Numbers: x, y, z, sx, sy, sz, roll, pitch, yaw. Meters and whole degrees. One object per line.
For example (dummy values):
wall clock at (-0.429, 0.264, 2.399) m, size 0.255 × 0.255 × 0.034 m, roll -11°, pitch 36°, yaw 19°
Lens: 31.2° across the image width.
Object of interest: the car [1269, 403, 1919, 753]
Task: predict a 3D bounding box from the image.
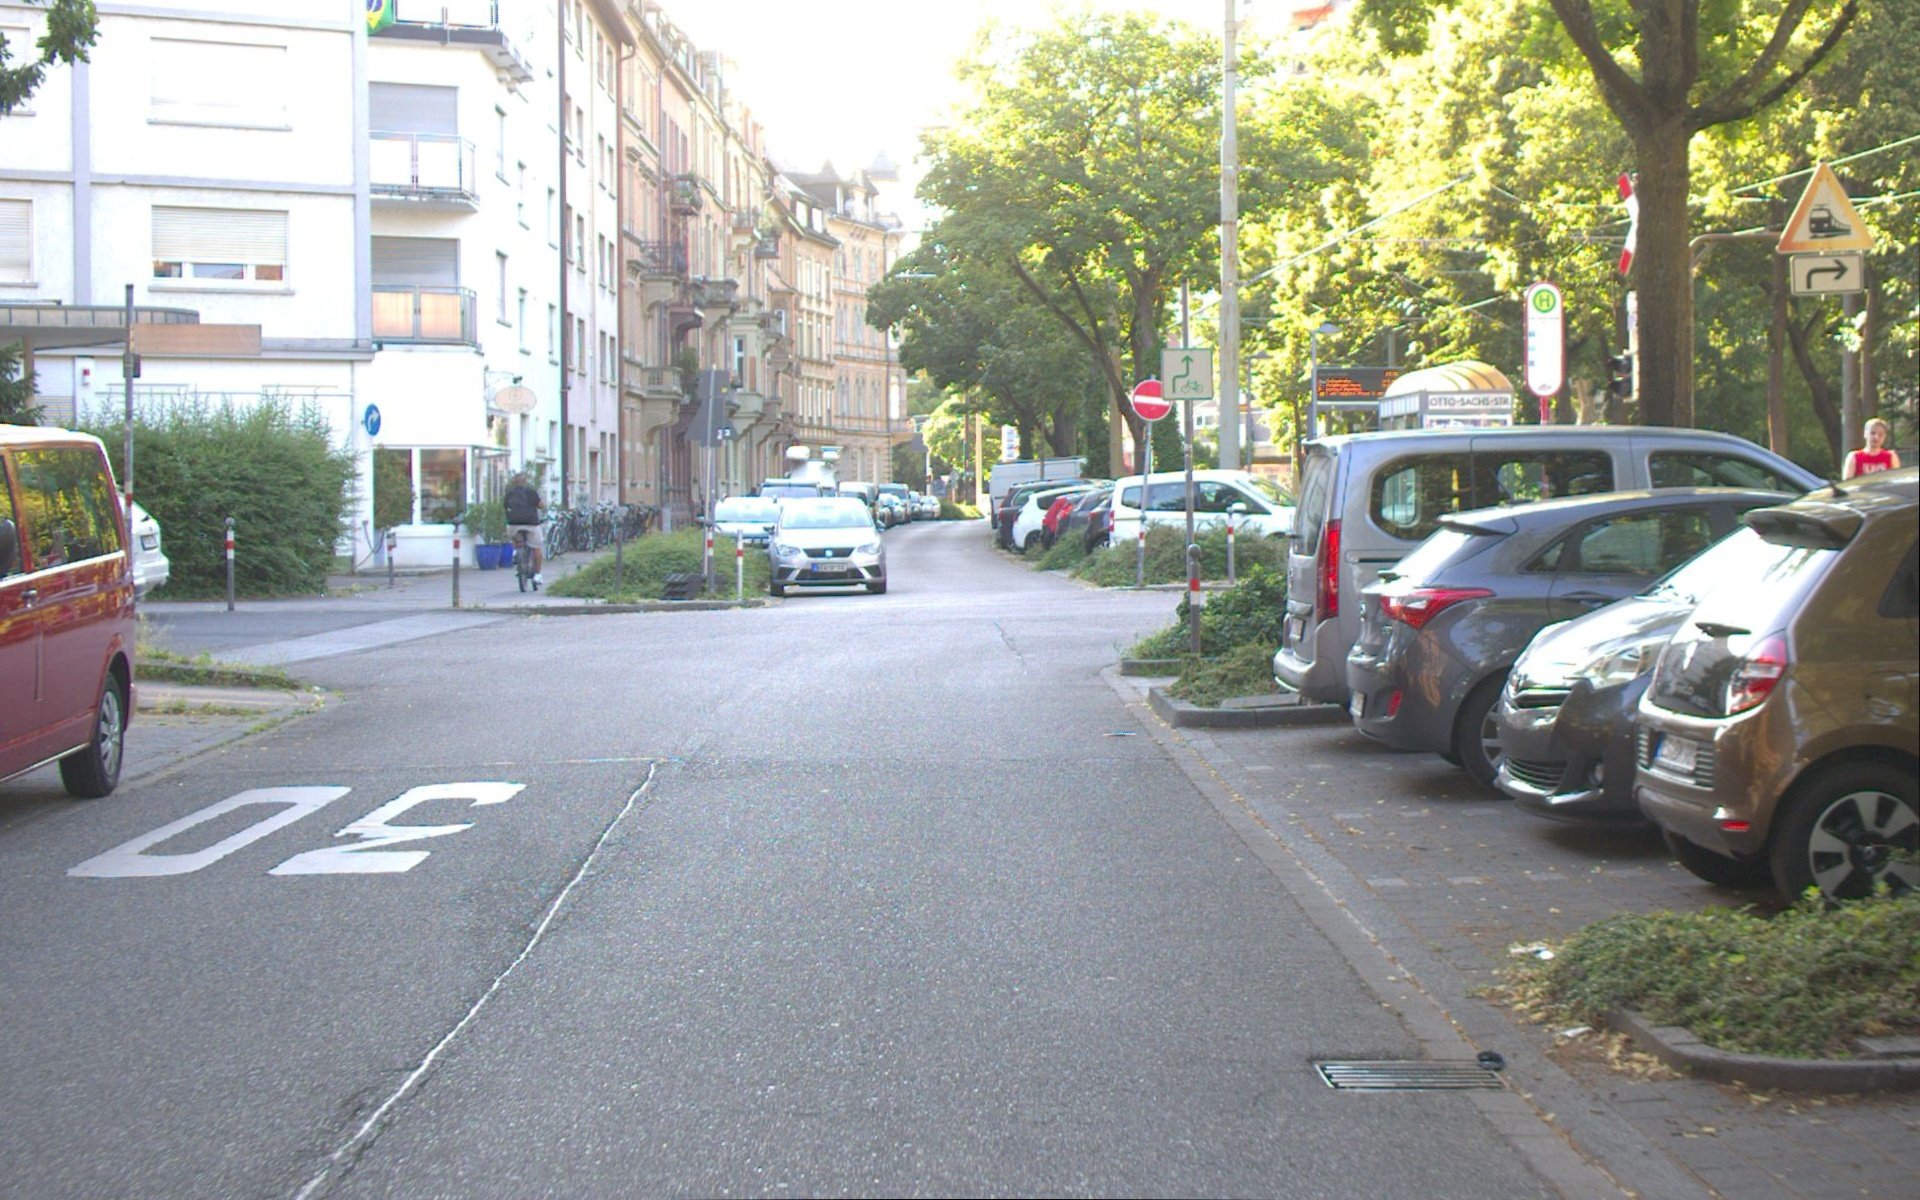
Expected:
car at (4.146, -0.144, 20.076) m, size 4.539 × 1.908 × 1.950 m, roll -1°, pitch 1°, yaw 2°

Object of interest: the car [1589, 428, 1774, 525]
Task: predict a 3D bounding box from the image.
car at (19.731, -3.395, 94.053) m, size 4.493 × 2.467 × 1.816 m, roll 3°, pitch 1°, yaw 30°

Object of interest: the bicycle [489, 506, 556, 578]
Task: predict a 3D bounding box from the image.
bicycle at (-6.687, -0.897, 52.690) m, size 0.712 × 1.047 × 2.348 m, roll -1°, pitch 2°, yaw 0°

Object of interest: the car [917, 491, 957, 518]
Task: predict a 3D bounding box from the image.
car at (-1.334, -5.515, 197.604) m, size 1.711 × 1.441 × 3.999 m, roll -1°, pitch 2°, yaw 8°

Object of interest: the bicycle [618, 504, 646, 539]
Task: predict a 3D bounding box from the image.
bicycle at (-9.631, -2.305, 100.968) m, size 0.626 × 0.999 × 2.176 m, roll -1°, pitch 2°, yaw -1°

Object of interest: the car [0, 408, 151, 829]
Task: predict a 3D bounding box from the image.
car at (-5.276, 0.039, 16.418) m, size 1.776 × 1.927 × 4.773 m, roll 1°, pitch 2°, yaw -1°

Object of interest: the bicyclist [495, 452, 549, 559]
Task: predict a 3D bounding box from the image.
bicyclist at (-6.698, -1.446, 52.641) m, size 0.712 × 1.611 × 0.724 m, roll -1°, pitch 2°, yaw 0°

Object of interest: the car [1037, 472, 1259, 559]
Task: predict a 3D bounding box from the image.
car at (3.904, -1.750, 71.439) m, size 4.232 × 1.453 × 1.606 m, roll -4°, pitch 2°, yaw 24°

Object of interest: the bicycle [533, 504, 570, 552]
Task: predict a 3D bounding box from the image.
bicycle at (-8.855, -1.569, 74.617) m, size 0.531 × 0.999 × 2.176 m, roll 0°, pitch 2°, yaw 0°

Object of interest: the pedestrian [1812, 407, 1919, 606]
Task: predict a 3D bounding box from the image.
pedestrian at (8.981, -0.925, 33.831) m, size 0.902 × 1.912 × 1.150 m, roll -1°, pitch 2°, yaw 0°

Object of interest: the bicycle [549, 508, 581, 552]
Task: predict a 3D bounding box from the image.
bicycle at (-9.322, -1.650, 81.208) m, size 0.531 × 0.999 × 2.176 m, roll -1°, pitch 2°, yaw -1°

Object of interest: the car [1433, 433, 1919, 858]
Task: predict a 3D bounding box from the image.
car at (4.474, 0.141, 14.947) m, size 4.434 × 1.685 × 1.950 m, roll -1°, pitch 1°, yaw -6°

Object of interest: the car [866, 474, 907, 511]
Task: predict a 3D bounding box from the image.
car at (-3.800, -5.564, 177.310) m, size 1.711 × 1.813 × 4.000 m, roll -2°, pitch 2°, yaw 4°

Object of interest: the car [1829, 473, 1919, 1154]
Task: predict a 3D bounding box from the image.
car at (4.546, 0.467, 7.710) m, size 4.700 × 1.567 × 2.000 m, roll -1°, pitch 1°, yaw 2°

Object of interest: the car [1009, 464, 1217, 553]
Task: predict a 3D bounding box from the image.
car at (3.408, -2.041, 77.062) m, size 4.236 × 1.645 × 1.854 m, roll -3°, pitch 2°, yaw 36°

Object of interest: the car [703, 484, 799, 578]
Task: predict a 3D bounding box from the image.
car at (-3.924, -1.335, 65.074) m, size 1.710 × 1.667 × 4.001 m, roll -2°, pitch 2°, yaw -3°

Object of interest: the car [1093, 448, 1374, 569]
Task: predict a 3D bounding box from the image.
car at (4.498, -1.501, 56.755) m, size 4.234 × 1.647 × 1.605 m, roll -4°, pitch 2°, yaw 31°

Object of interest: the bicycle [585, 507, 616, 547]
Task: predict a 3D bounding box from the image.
bicycle at (-9.270, -1.885, 88.715) m, size 0.626 × 0.999 × 2.176 m, roll -1°, pitch 2°, yaw -1°

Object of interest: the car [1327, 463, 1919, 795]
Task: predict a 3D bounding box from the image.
car at (4.223, 0.113, 17.463) m, size 4.539 × 1.567 × 1.950 m, roll -1°, pitch 1°, yaw 2°

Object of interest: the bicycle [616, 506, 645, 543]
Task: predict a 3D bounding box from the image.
bicycle at (-9.155, -2.112, 95.591) m, size 0.626 × 0.999 × 2.176 m, roll -1°, pitch 2°, yaw -1°

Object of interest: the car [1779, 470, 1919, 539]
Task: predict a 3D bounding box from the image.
car at (20.109, -2.072, 75.696) m, size 3.821 × 1.386 × 1.736 m, roll 3°, pitch 1°, yaw 19°

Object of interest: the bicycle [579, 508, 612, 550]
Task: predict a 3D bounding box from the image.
bicycle at (-9.016, -1.771, 85.180) m, size 0.626 × 0.999 × 2.176 m, roll -1°, pitch 2°, yaw -1°

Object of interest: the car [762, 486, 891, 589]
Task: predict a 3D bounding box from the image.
car at (-2.060, -0.974, 52.150) m, size 1.710 × 1.441 × 4.001 m, roll -2°, pitch 2°, yaw -5°

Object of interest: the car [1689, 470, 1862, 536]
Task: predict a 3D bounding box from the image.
car at (19.472, -2.308, 82.052) m, size 3.821 × 1.416 × 1.736 m, roll 3°, pitch 1°, yaw 19°

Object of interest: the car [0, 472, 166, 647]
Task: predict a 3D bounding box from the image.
car at (-10.083, -0.389, 33.391) m, size 4.517 × 1.641 × 1.943 m, roll -1°, pitch 2°, yaw -16°

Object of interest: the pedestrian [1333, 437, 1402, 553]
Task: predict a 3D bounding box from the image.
pedestrian at (6.799, -1.754, 57.335) m, size 0.850 × 1.904 × 0.836 m, roll 0°, pitch 2°, yaw 34°

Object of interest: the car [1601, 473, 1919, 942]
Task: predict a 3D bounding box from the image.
car at (4.765, 0.323, 12.460) m, size 4.539 × 1.567 × 1.950 m, roll -1°, pitch 1°, yaw 2°

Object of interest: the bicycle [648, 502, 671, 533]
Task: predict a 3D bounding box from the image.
bicycle at (-9.938, -2.727, 113.743) m, size 0.626 × 0.999 × 2.176 m, roll -1°, pitch 2°, yaw -1°

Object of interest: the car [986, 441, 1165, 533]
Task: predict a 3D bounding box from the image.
car at (3.793, -3.710, 112.891) m, size 5.259 × 2.563 × 2.270 m, roll -4°, pitch 2°, yaw 28°

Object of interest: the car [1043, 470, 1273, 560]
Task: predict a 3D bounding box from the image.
car at (3.969, -1.702, 68.935) m, size 4.232 × 1.453 × 1.606 m, roll -4°, pitch 2°, yaw 24°

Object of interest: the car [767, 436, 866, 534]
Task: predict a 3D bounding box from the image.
car at (-4.412, -3.561, 106.346) m, size 2.552 × 2.877 × 5.481 m, roll -2°, pitch 2°, yaw 2°

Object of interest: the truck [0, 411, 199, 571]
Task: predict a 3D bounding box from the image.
truck at (-15.032, -1.760, 55.440) m, size 4.957 × 2.526 × 2.000 m, roll -2°, pitch 2°, yaw -35°

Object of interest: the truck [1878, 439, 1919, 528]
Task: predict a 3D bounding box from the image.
truck at (26.544, -3.151, 92.718) m, size 2.366 × 2.344 × 4.384 m, roll -1°, pitch 2°, yaw 0°
